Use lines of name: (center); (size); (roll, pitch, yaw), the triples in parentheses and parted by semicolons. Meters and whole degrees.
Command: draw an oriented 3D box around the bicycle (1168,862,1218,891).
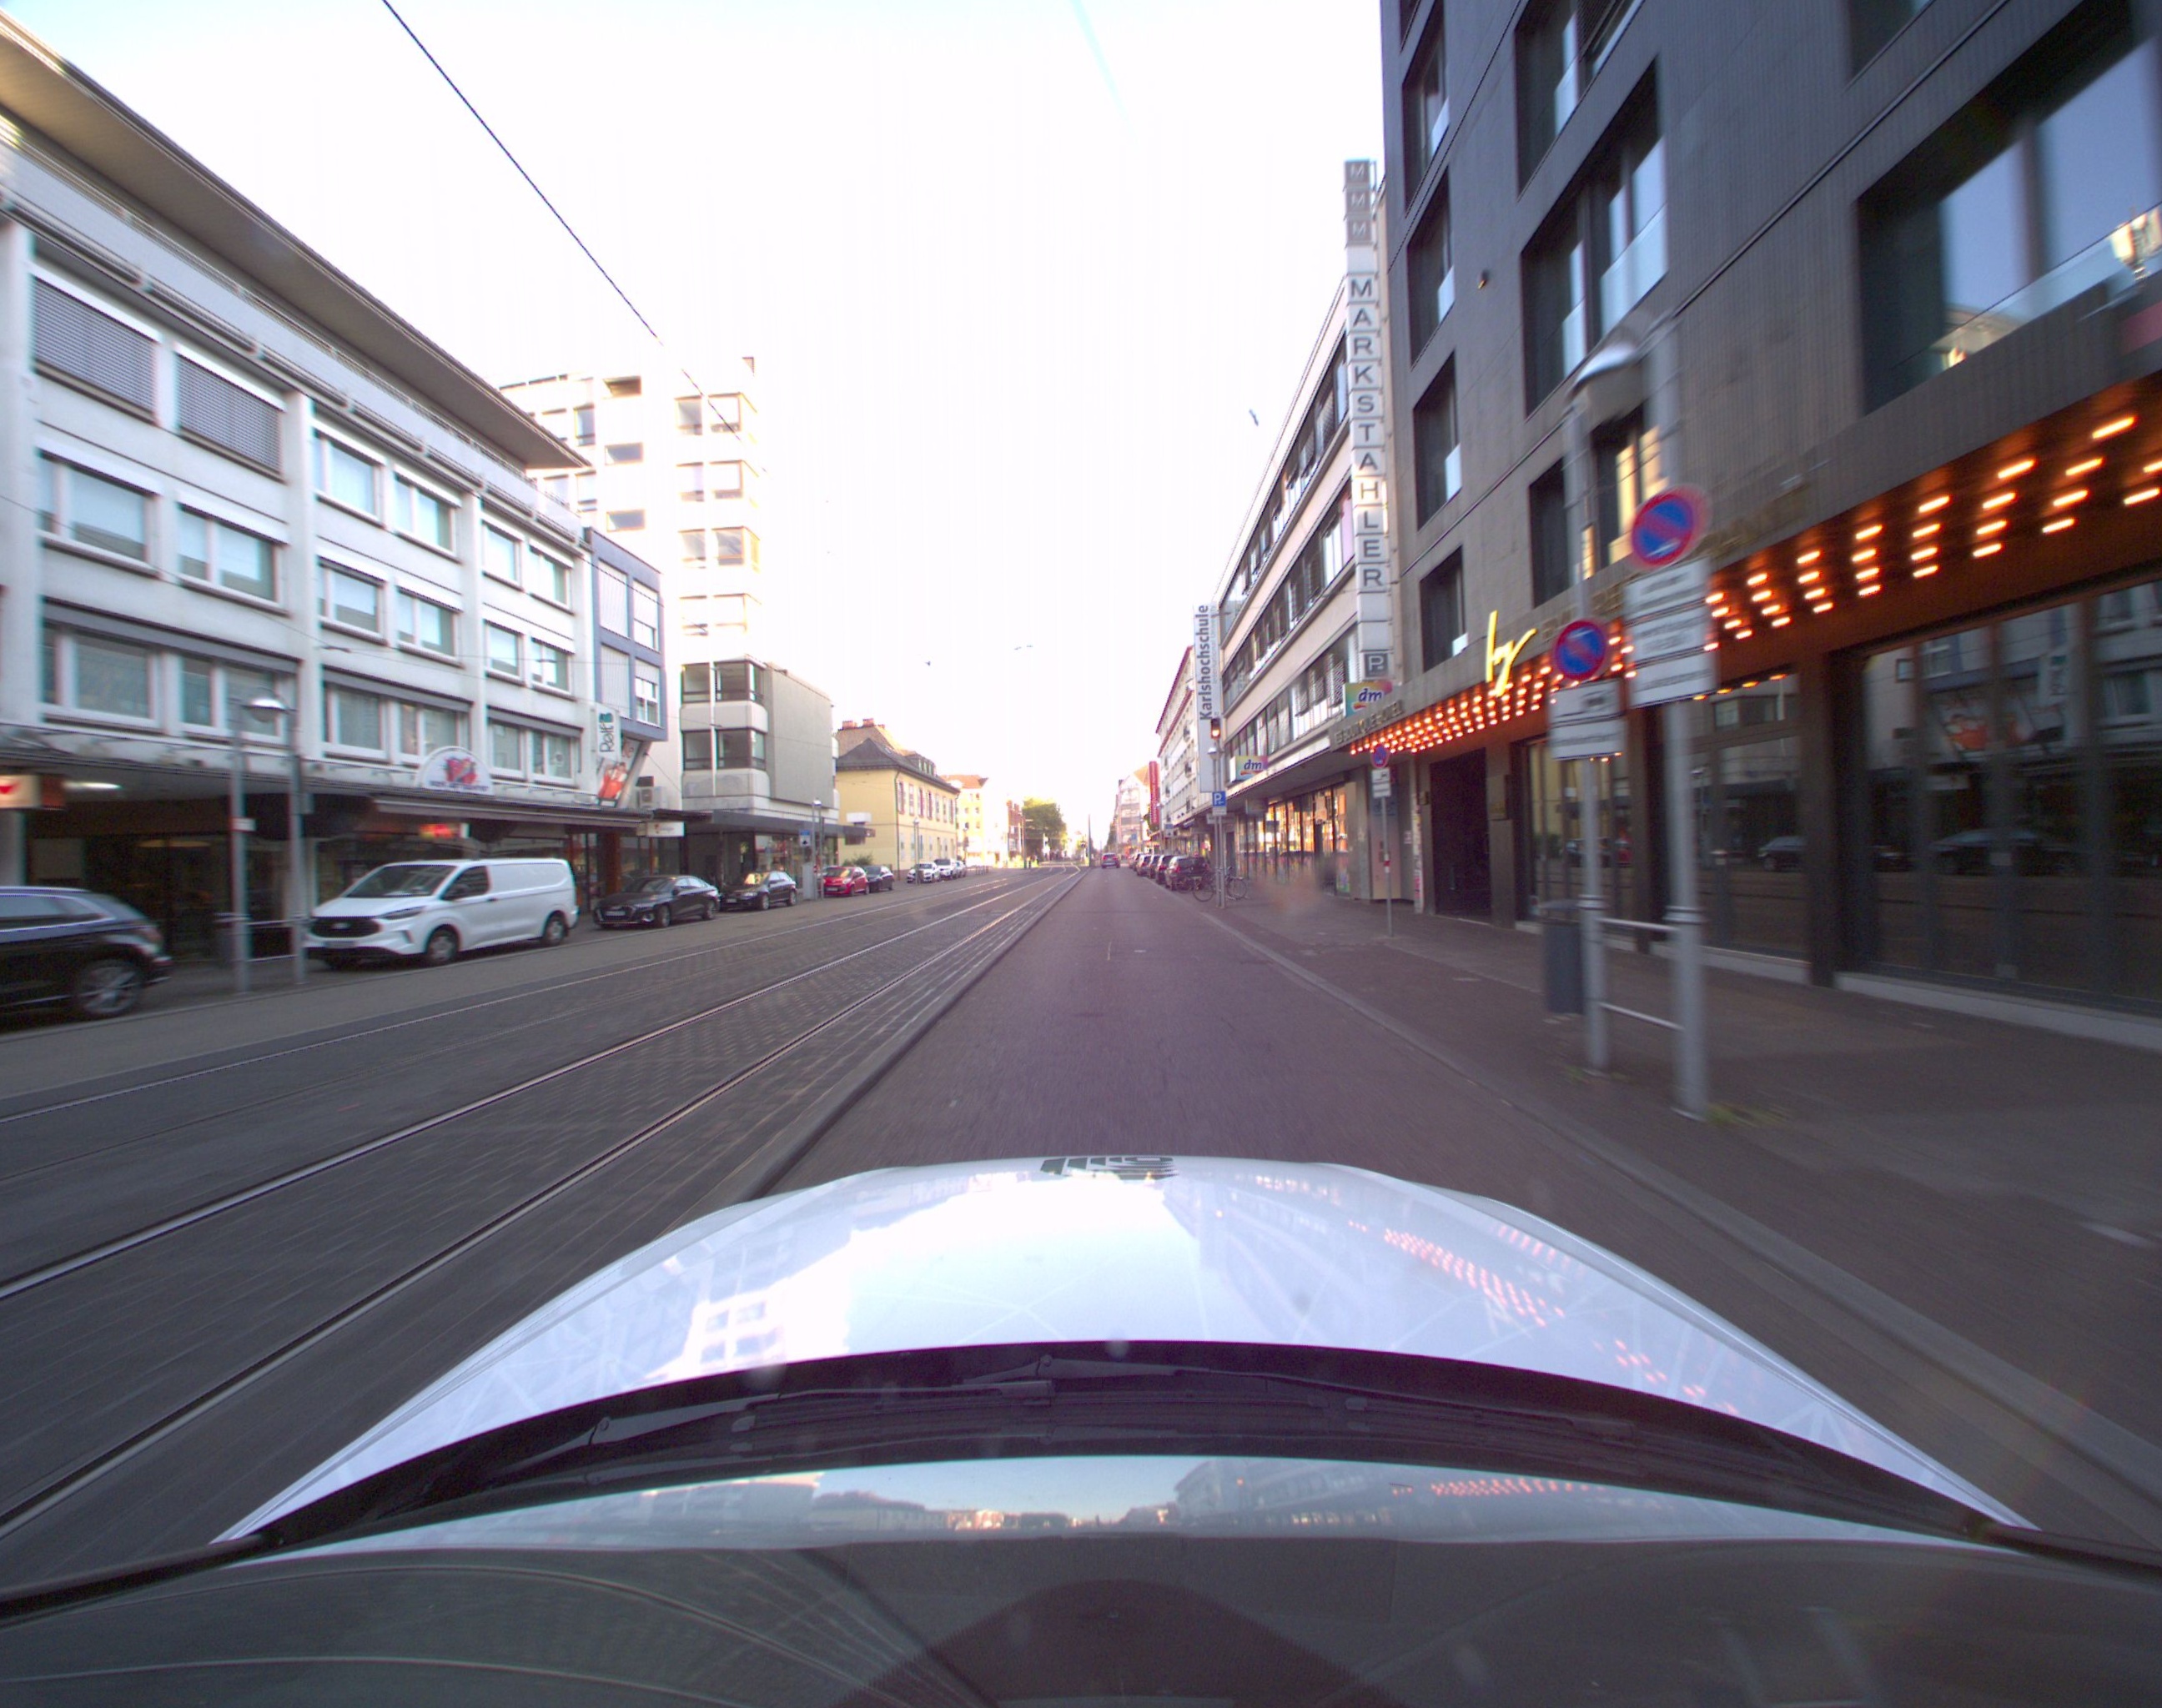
bicycle: (4.305, 0.868, 31.307); (1.834, 1.110, 0.642); (0, -1, -2)

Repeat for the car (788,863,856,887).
car: (-17.334, 1.417, 54.641); (3.975, 1.553, 1.913); (0, -1, -1)

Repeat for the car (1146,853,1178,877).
car: (5.051, 0.676, 51.321); (1.719, 1.481, 4.001); (0, -1, 2)

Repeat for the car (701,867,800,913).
car: (-12.187, 1.296, 30.308); (1.783, 1.460, 4.094); (-2, 0, 3)

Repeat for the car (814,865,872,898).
car: (-11.614, 1.303, 39.944); (1.685, 1.434, 3.593); (-2, 0, 2)

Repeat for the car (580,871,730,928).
car: (-12.243, 1.252, 23.806); (1.865, 1.427, 4.572); (0, -1, 2)

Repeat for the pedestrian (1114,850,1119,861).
pedestrian: (5.844, 0.280, 135.002); (0.870, 1.706, 0.701); (0, -1, 4)

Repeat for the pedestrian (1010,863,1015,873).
pedestrian: (-9.403, 1.975, 111.933); (0.662, 1.375, 0.651); (-2, -1, -1)

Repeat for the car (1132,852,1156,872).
car: (5.510, 0.702, 71.765); (1.849, 1.701, 4.419); (0, -1, 1)

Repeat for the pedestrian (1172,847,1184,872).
pedestrian: (7.581, 0.431, 63.630); (0.772, 1.880, 0.934); (-2, -1, 0)

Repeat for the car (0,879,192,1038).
car: (-12.858, 1.166, 8.515); (1.986, 1.697, 4.590); (0, -1, 2)

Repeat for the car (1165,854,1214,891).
car: (4.549, 0.752, 34.625); (1.648, 1.463, 4.024); (0, -1, 2)

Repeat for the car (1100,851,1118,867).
car: (3.190, 0.567, 91.291); (1.828, 1.636, 4.093); (-3, -2, 3)

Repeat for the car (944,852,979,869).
car: (-14.588, 0.797, 99.484); (3.994, 2.014, 1.990); (-2, -1, -15)

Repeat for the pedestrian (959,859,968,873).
pedestrian: (-12.702, 1.334, 88.281); (0.796, 1.542, 0.878); (0, -1, 3)

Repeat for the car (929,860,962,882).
car: (-10.798, 1.306, 65.180); (1.880, 1.661, 4.760); (0, 0, 0)

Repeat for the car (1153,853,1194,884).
car: (4.673, 0.733, 41.787); (1.758, 1.513, 4.073); (0, -1, 2)

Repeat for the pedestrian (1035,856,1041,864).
pedestrian: (-7.084, 0.961, 133.356); (0.900, 1.375, 0.853); (-2, -1, -1)

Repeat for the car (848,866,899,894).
car: (-11.453, 1.388, 45.143); (1.685, 1.425, 3.967); (0, 0, 2)

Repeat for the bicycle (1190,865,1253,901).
bicycle: (4.388, 0.909, 25.510); (1.790, 0.972, 0.575); (-4, 0, -2)

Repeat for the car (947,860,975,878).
car: (-10.453, 1.267, 71.306); (1.742, 1.474, 4.001); (0, 0, 1)

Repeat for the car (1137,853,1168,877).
car: (4.927, 0.759, 56.806); (1.785, 1.533, 4.857); (0, -1, 1)

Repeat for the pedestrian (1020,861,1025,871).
pedestrian: (-8.066, 1.632, 112.107); (0.662, 1.375, 0.651); (-1, 0, -1)

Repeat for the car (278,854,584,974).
car: (-12.536, 1.041, 16.306); (1.957, 2.014, 5.100); (0, -1, 1)

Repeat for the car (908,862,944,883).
car: (-11.165, 1.333, 59.045); (1.715, 1.453, 4.284); (0, 0, 1)

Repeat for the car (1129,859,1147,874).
car: (5.493, 1.202, 78.950); (1.645, 1.421, 4.192); (0, -1, 2)
